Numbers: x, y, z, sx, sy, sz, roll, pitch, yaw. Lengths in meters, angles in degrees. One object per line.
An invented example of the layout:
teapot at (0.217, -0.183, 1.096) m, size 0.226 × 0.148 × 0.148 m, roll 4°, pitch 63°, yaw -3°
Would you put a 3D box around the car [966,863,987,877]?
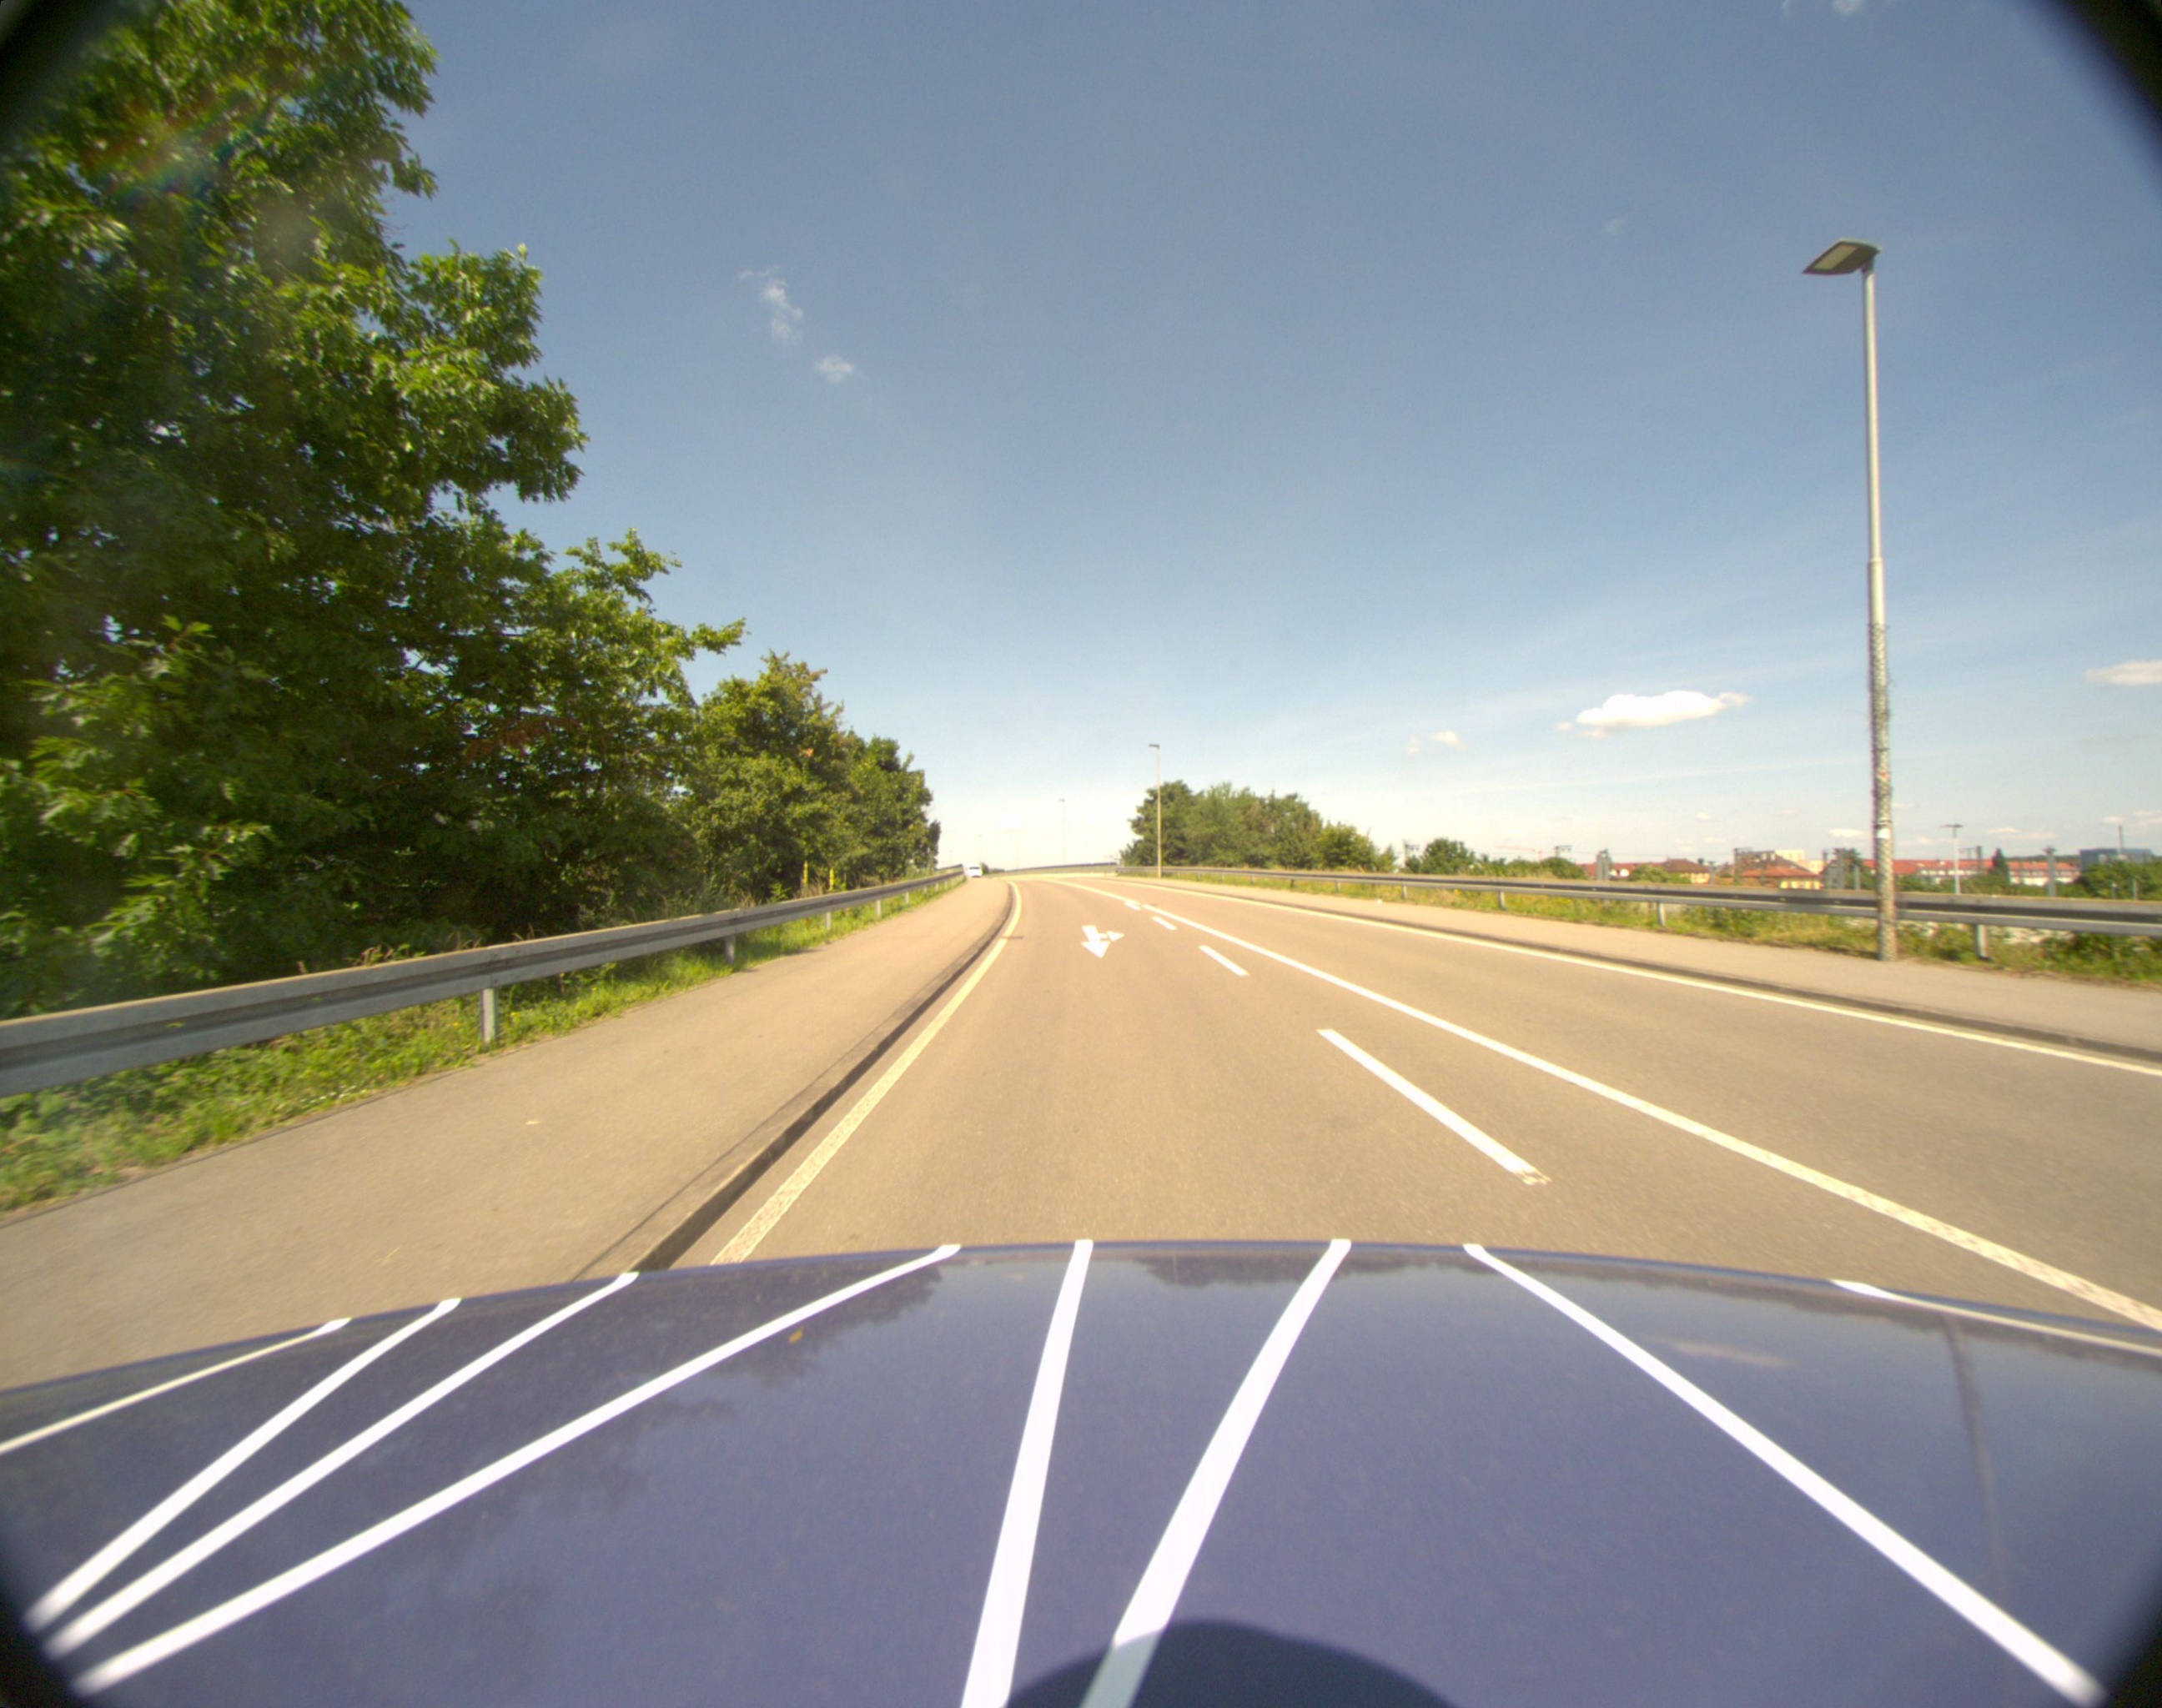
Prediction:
car at (-13.757, 2.114, 99.668) m, size 2.095 × 1.750 × 4.278 m, roll -3°, pitch -1°, yaw -15°
